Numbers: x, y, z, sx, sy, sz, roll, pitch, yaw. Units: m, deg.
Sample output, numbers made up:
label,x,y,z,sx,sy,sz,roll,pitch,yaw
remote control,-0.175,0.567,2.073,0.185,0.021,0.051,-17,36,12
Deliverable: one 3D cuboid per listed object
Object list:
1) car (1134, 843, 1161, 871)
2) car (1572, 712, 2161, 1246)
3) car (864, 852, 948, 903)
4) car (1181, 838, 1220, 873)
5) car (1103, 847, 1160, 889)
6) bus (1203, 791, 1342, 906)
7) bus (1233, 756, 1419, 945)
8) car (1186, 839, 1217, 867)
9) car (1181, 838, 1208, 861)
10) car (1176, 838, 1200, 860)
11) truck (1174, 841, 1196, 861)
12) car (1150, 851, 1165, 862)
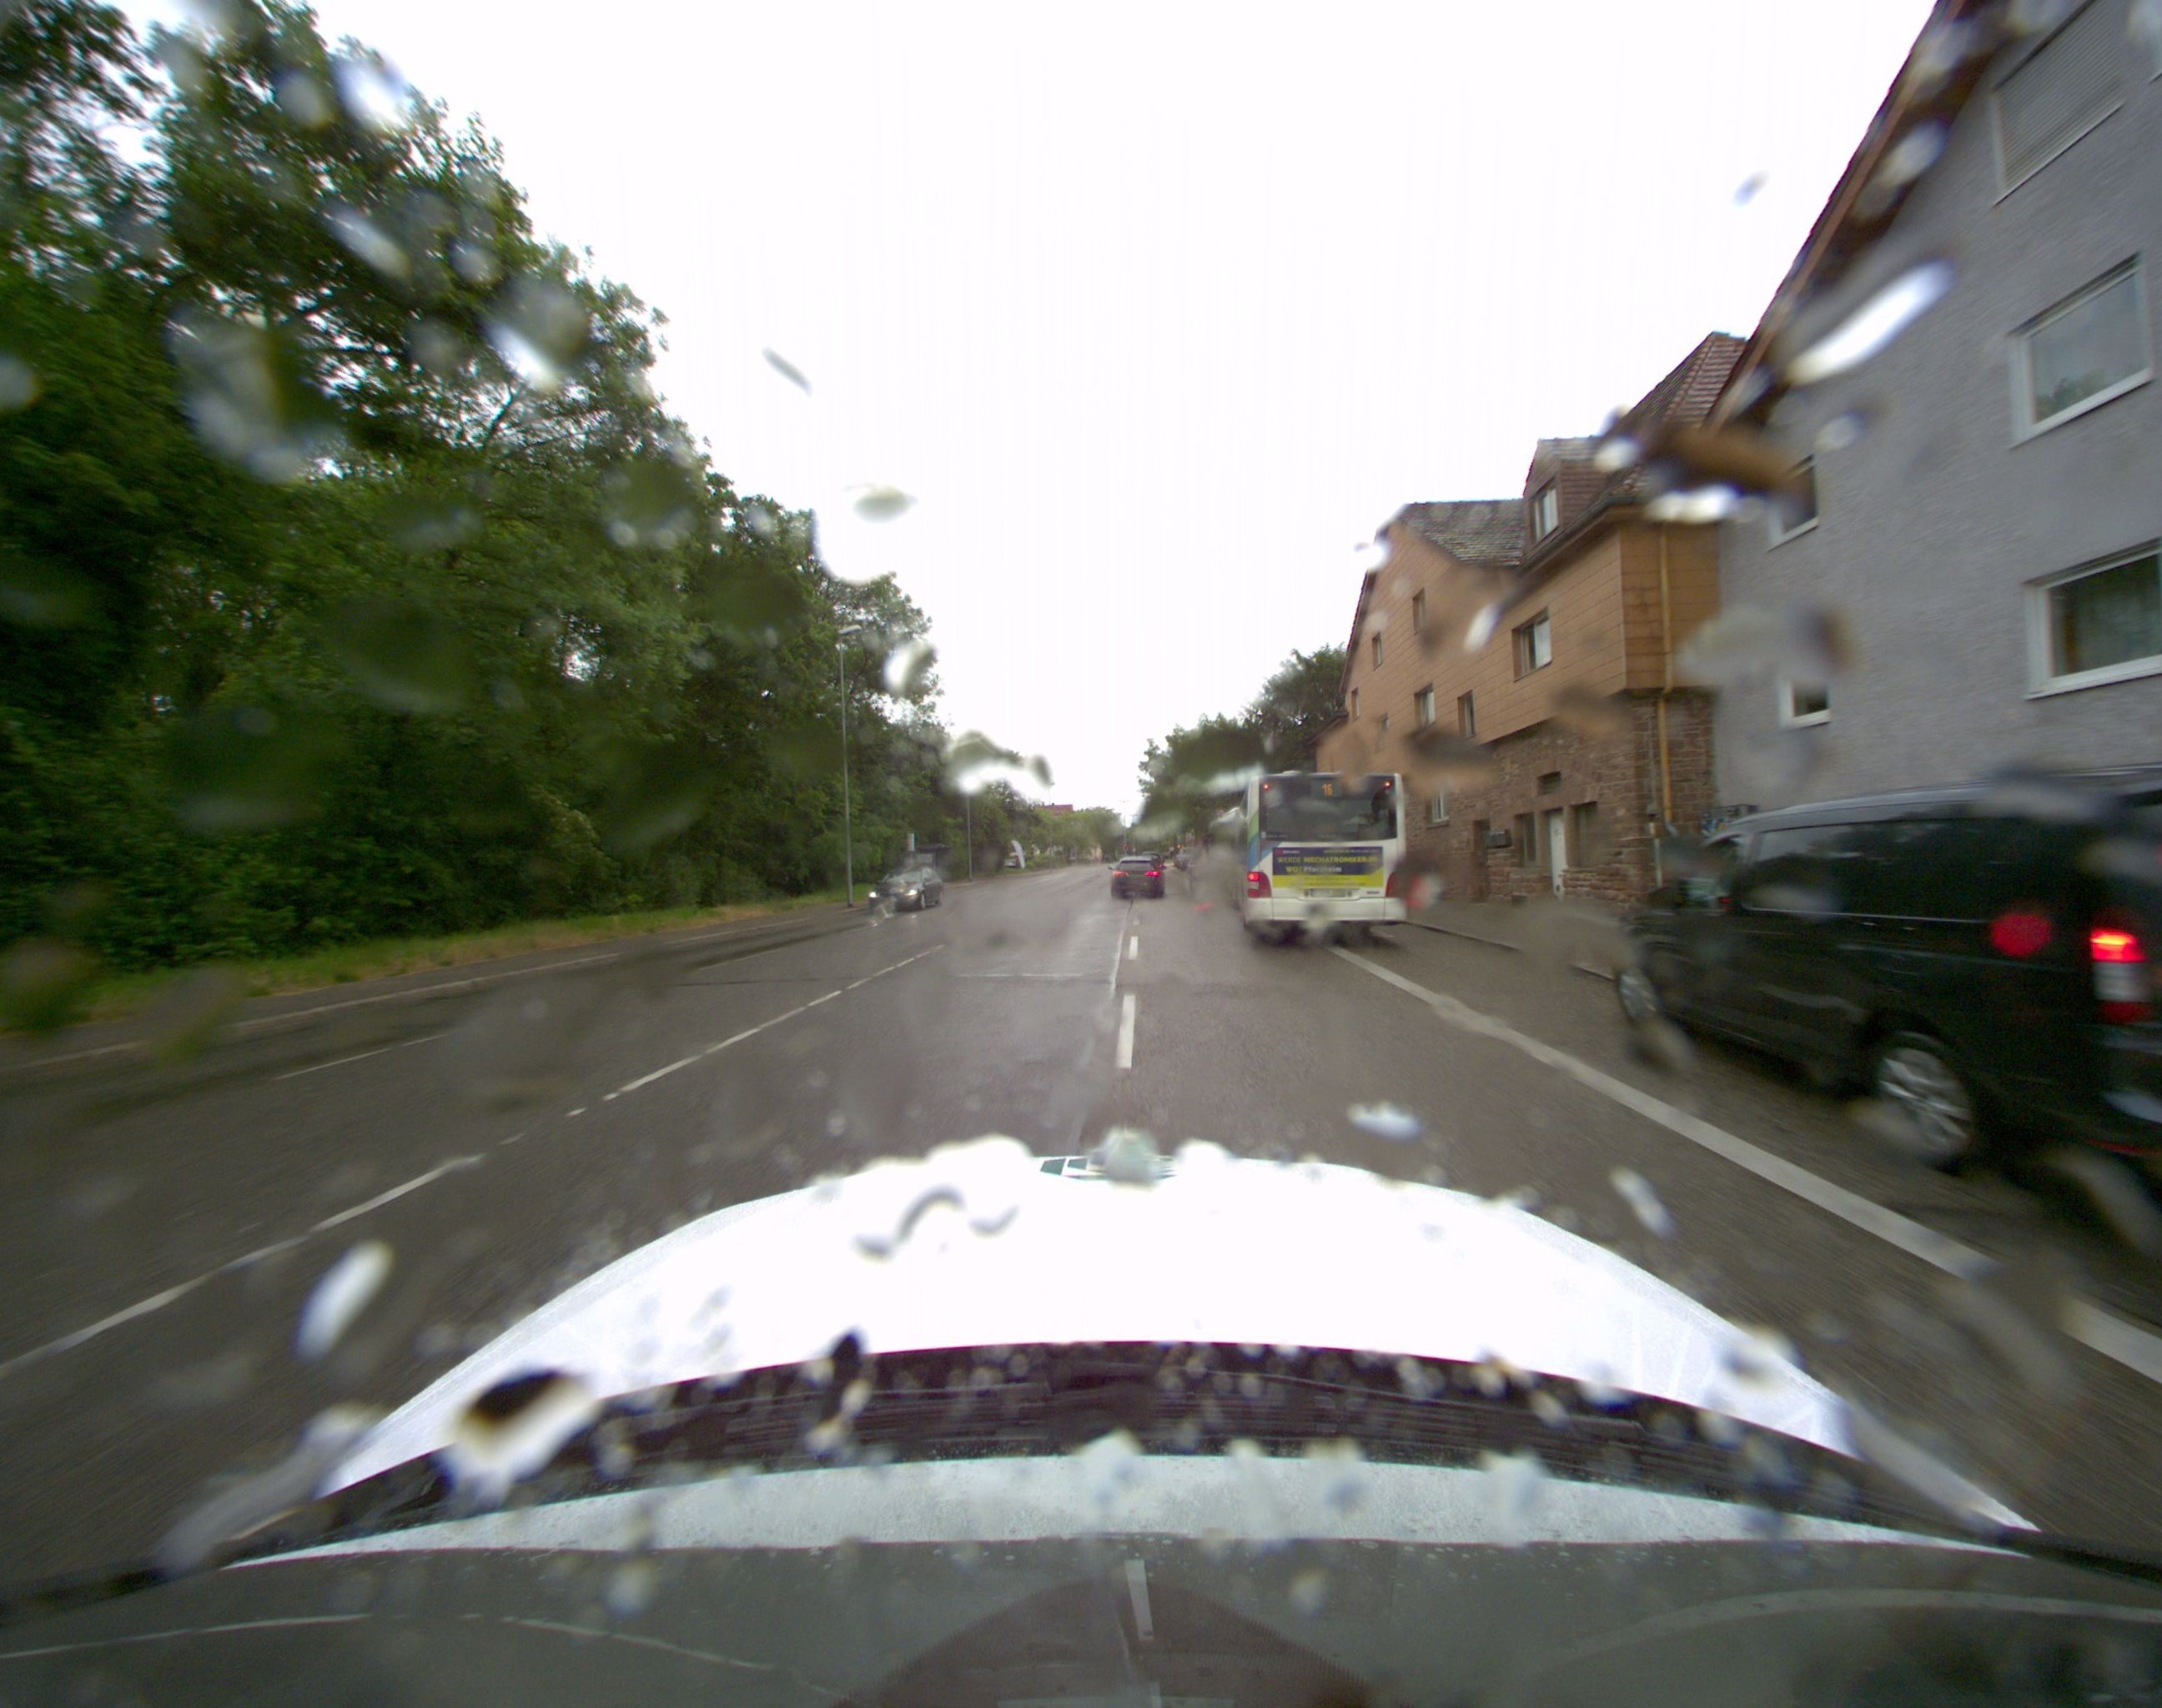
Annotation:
label,x,y,z,sx,sy,sz,roll,pitch,yaw
car,5.003,0.196,61.461,1.984,2.013,4.005,-1,0,4
car,5.075,0.397,5.083,1.913,1.892,4.777,-5,-1,13
car,-5.997,0.767,28.368,1.762,1.533,4.004,-2,0,3
car,7.352,0.059,50.545,1.985,2.013,4.004,-1,1,3
car,1.912,0.482,30.886,1.985,1.453,4.004,1,1,4
bus,5.618,-0.189,25.700,2.611,2.847,9.805,-2,0,4
bus,4.571,-0.091,16.833,2.607,2.847,8.312,-2,0,10
car,9.305,-0.101,63.276,1.985,2.013,4.004,-1,1,3
car,10.164,-0.438,73.211,1.985,2.013,4.004,-1,1,3
car,10.196,-0.522,77.716,1.985,2.013,4.004,-1,1,3
truck,10.963,-0.375,85.886,1.985,2.013,4.004,-1,1,3
car,11.034,0.356,117.683,1.858,1.519,4.004,-1,1,3
